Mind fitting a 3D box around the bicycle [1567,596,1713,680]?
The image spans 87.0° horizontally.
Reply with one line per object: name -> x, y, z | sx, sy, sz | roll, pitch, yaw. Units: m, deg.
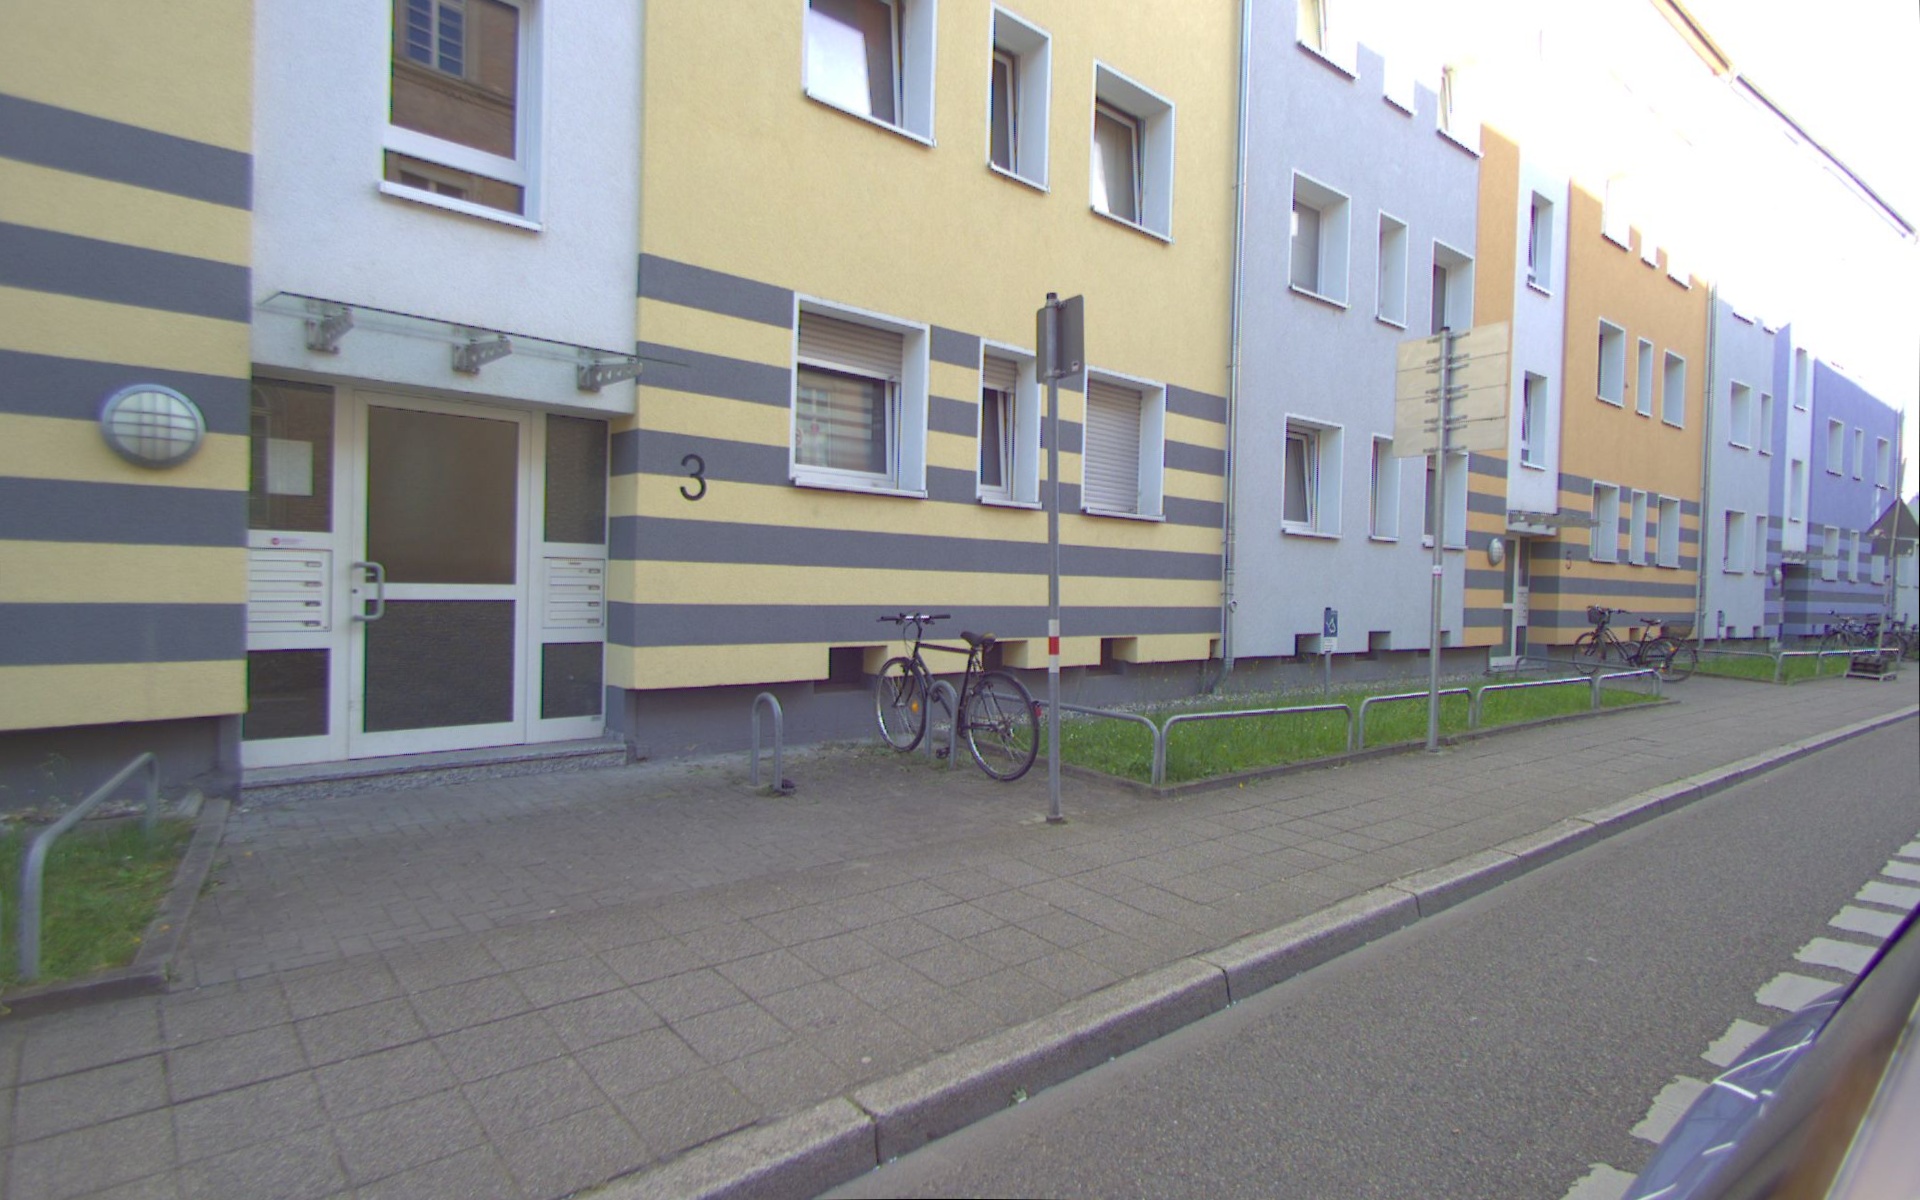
bicycle -> 10.692, 0.568, 15.958 | 0.574, 1.138, 1.775 | 0, 4, -42

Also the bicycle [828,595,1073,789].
bicycle -> -0.120, 0.554, 6.935 | 1.773, 1.061, 0.574 | 5, 4, 45

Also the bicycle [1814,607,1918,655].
bicycle -> 22.190, 0.734, 24.817 | 0.572, 1.007, 1.779 | 1, 3, -33

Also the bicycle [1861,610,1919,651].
bicycle -> 24.056, 0.794, 25.595 | 0.572, 0.950, 1.779 | 1, 3, -33

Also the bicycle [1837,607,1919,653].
bicycle -> 23.354, 0.738, 25.487 | 0.572, 1.007, 1.779 | 1, 3, -33
